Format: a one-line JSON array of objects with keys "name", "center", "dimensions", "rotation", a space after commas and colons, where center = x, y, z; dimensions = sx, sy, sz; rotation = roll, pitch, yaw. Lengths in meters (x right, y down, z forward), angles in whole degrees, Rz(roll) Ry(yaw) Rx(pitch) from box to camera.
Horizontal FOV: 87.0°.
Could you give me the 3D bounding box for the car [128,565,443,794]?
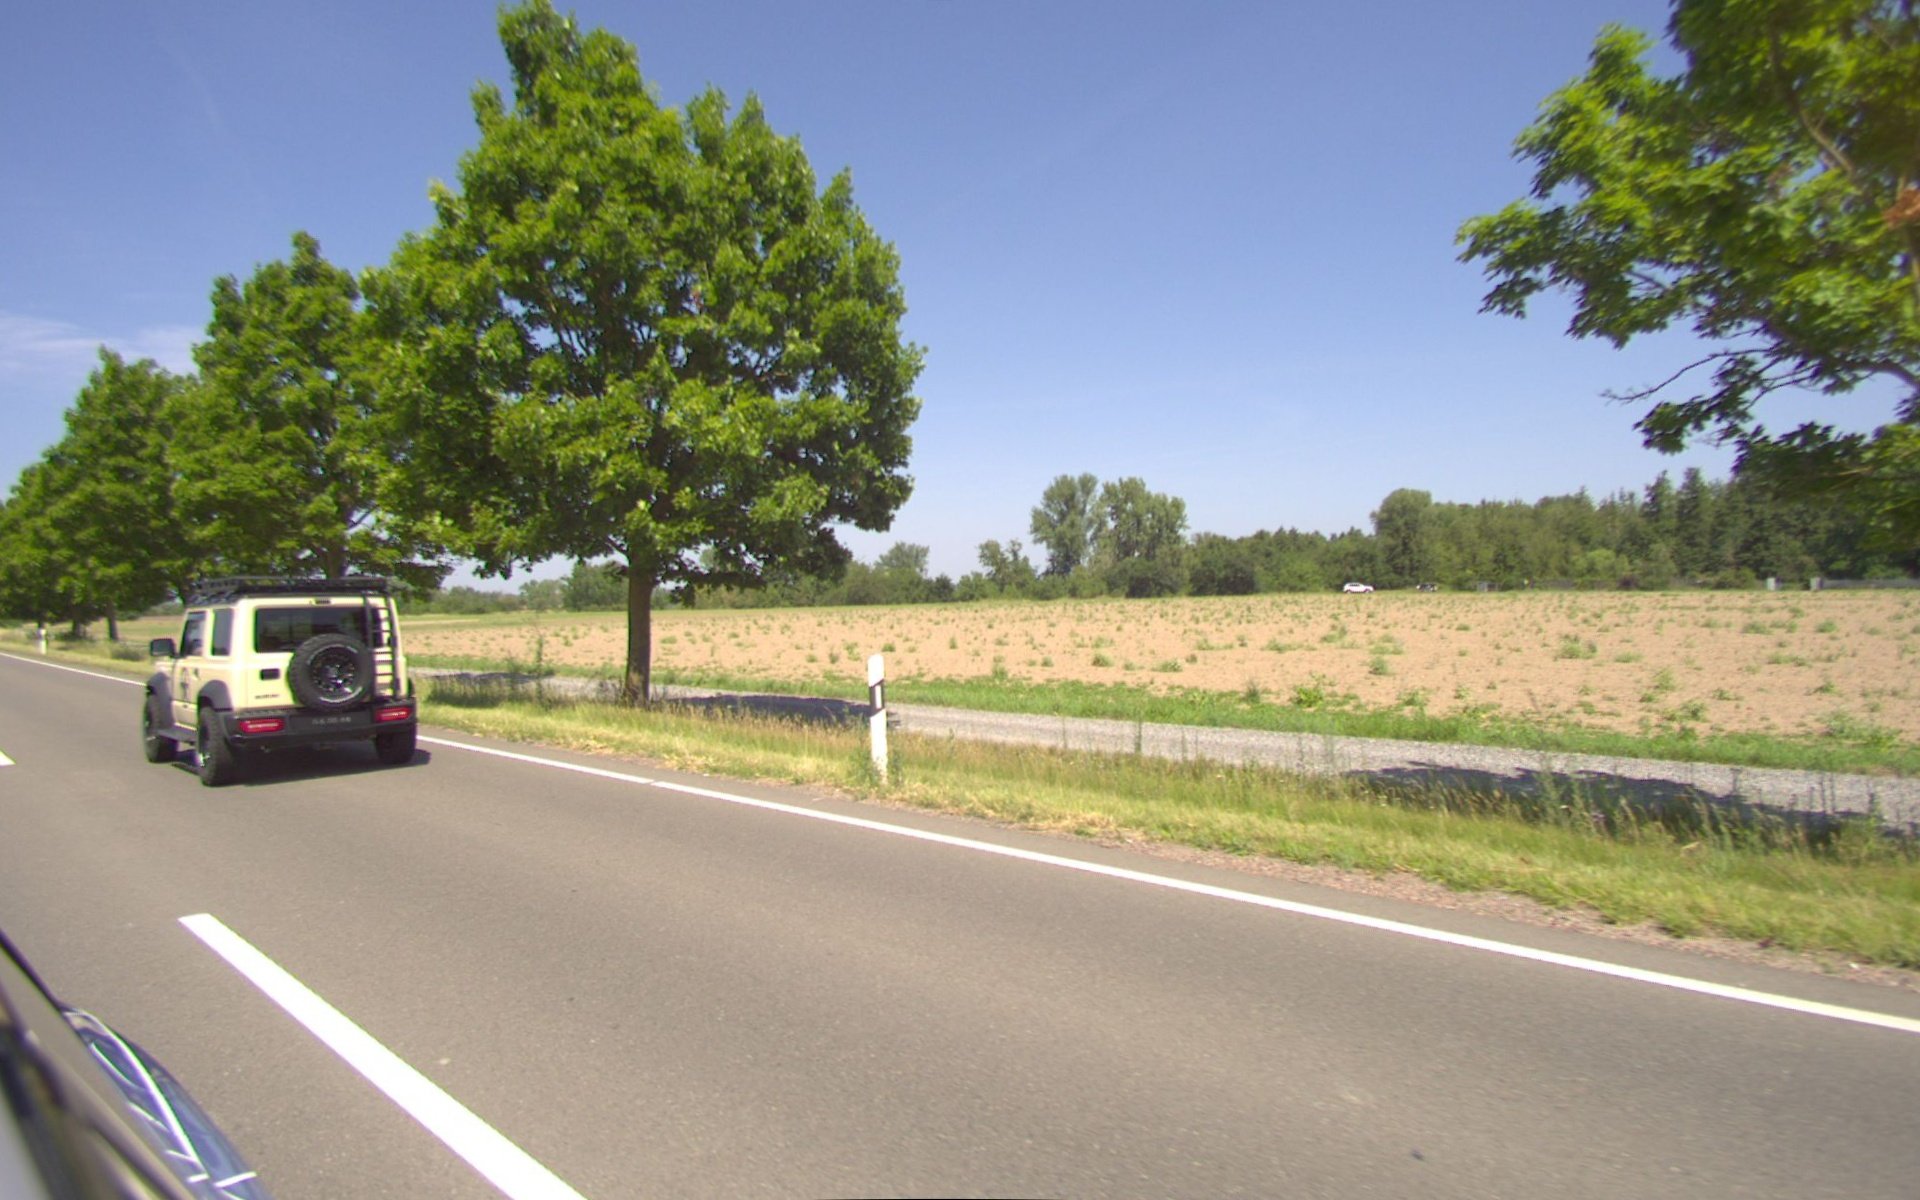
[{"name": "car", "center": [-6.884, 0.665, 10.169], "dimensions": [3.998, 1.863, 1.663], "rotation": [-1, 0, 41]}]
